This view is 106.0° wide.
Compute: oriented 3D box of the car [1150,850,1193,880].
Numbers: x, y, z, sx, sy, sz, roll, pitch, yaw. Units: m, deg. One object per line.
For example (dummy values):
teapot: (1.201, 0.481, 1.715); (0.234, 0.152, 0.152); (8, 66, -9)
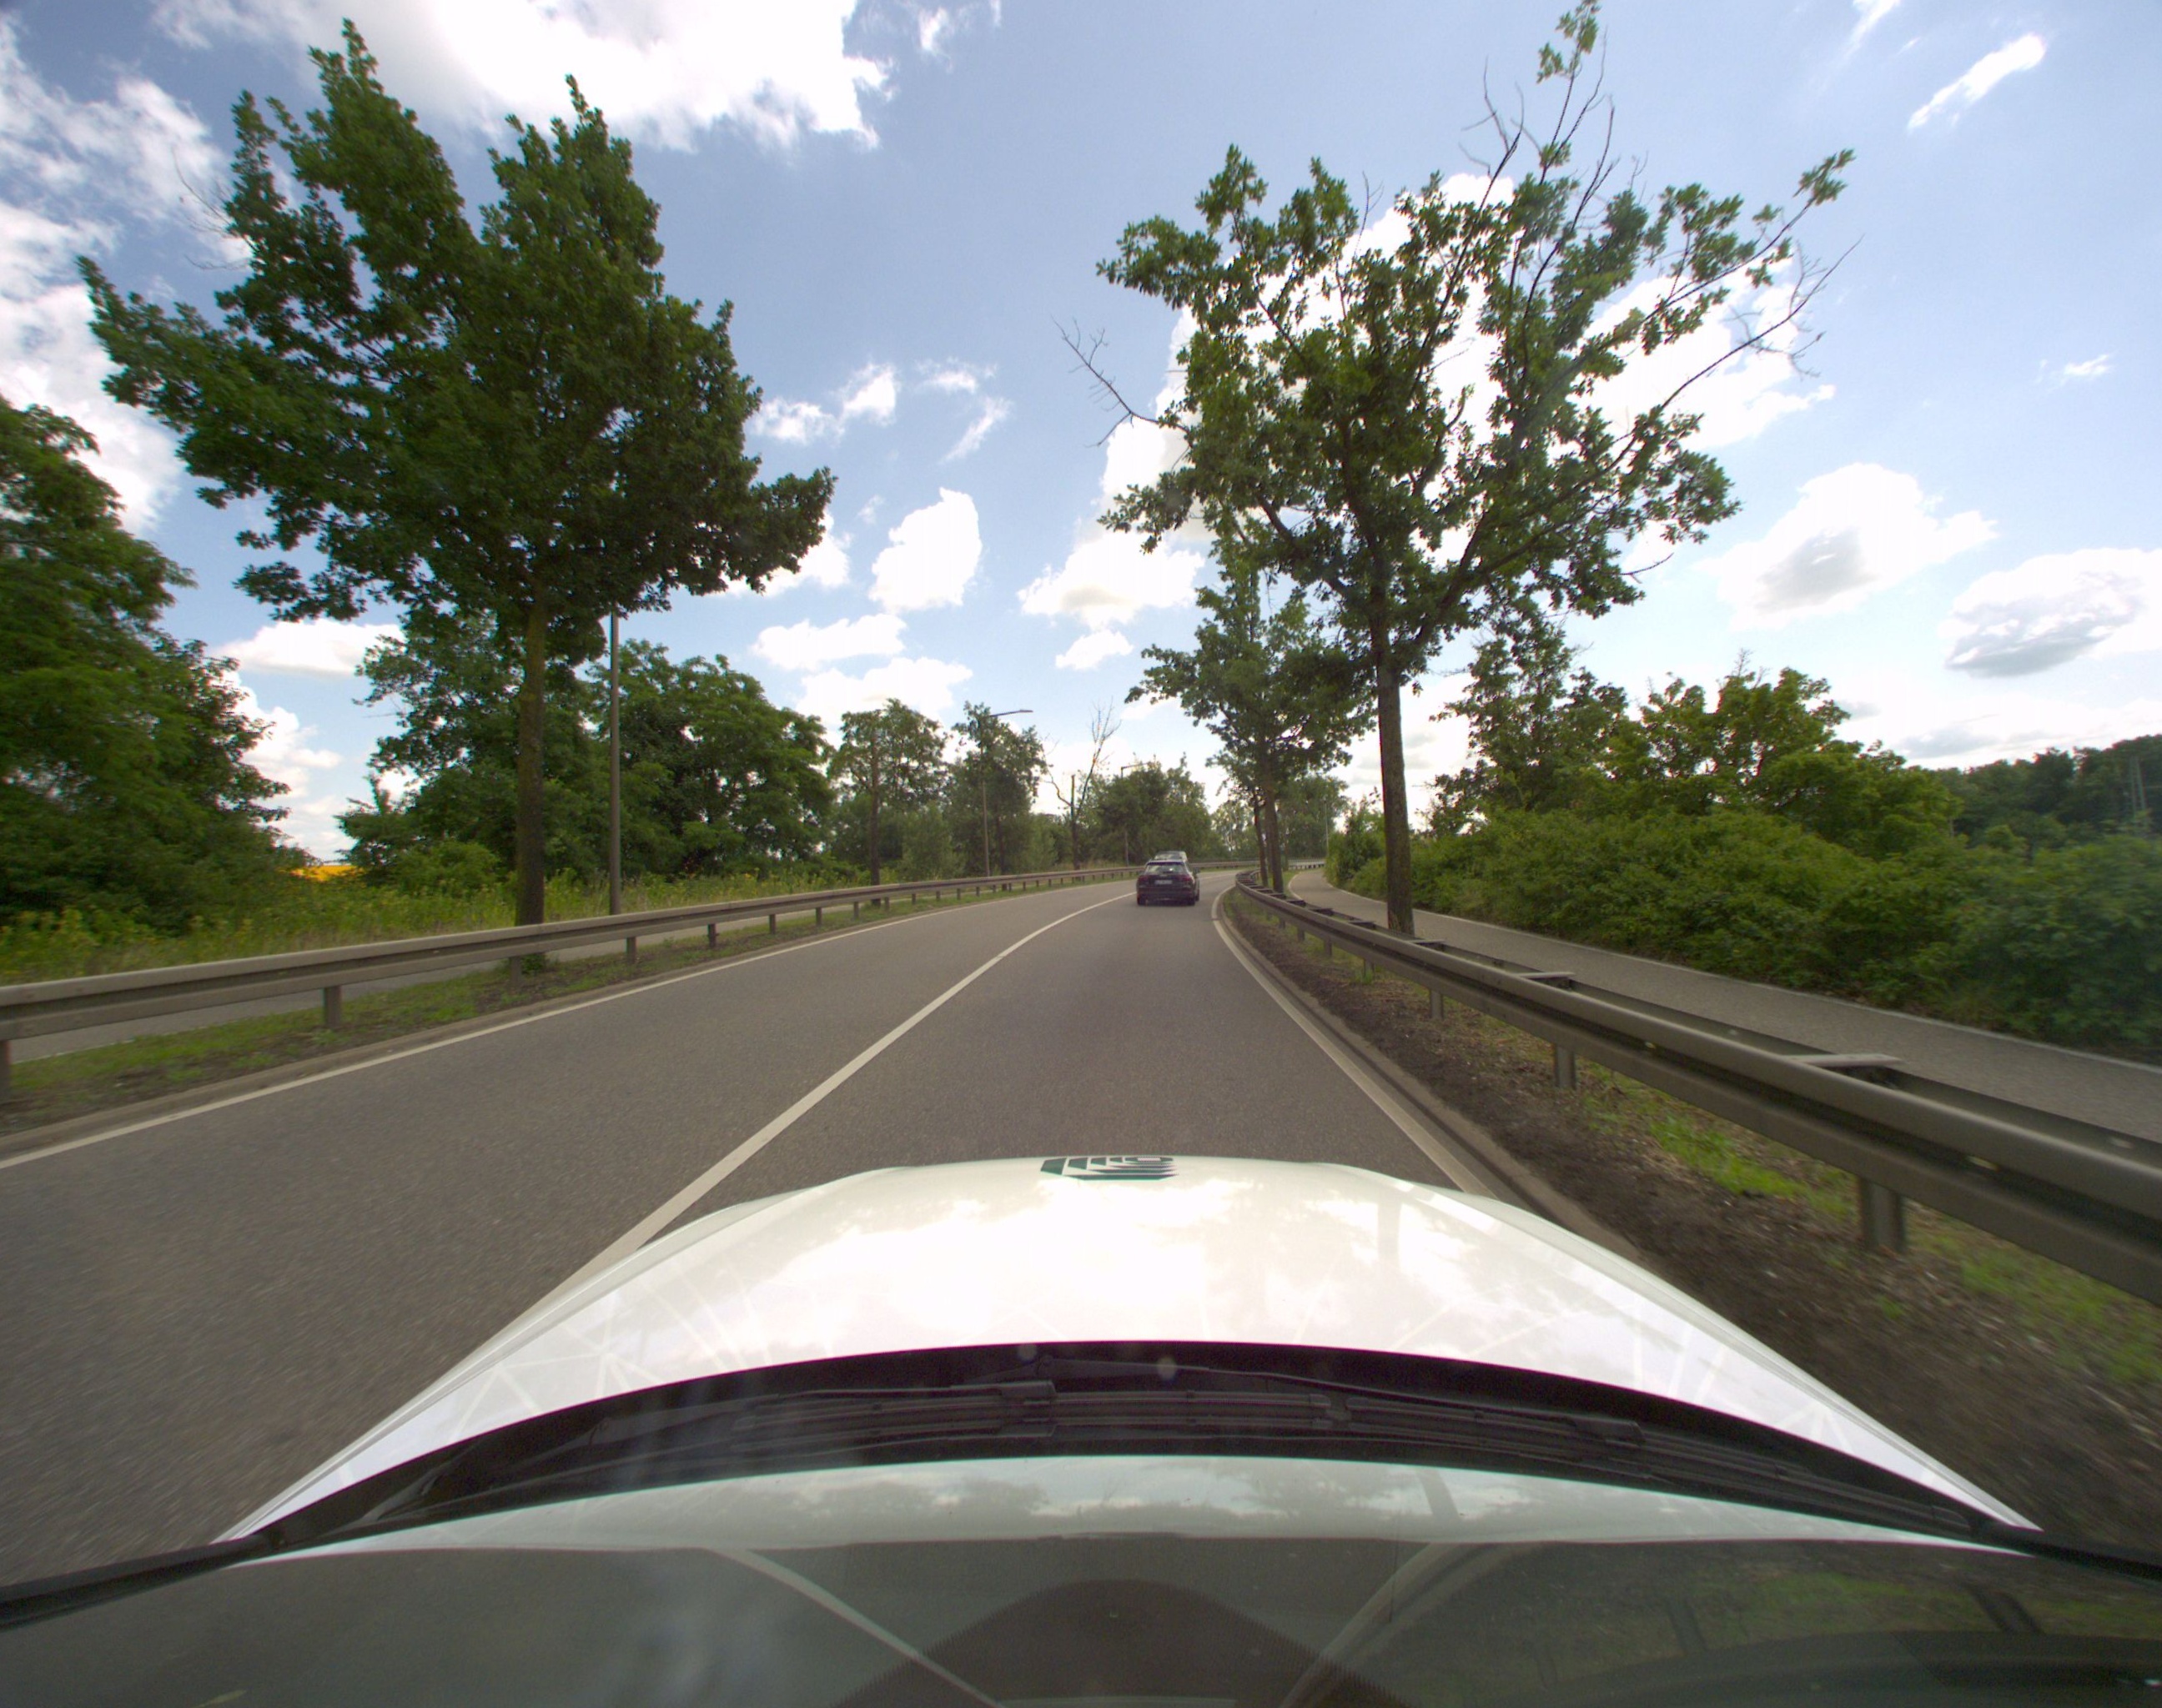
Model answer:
car: (5.494, 0.655, 49.176); (1.838, 1.709, 4.331); (0, 0, 16)

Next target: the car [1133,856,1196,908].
car: (2.626, 0.828, 26.195); (1.819, 1.491, 4.212); (0, 0, 4)
